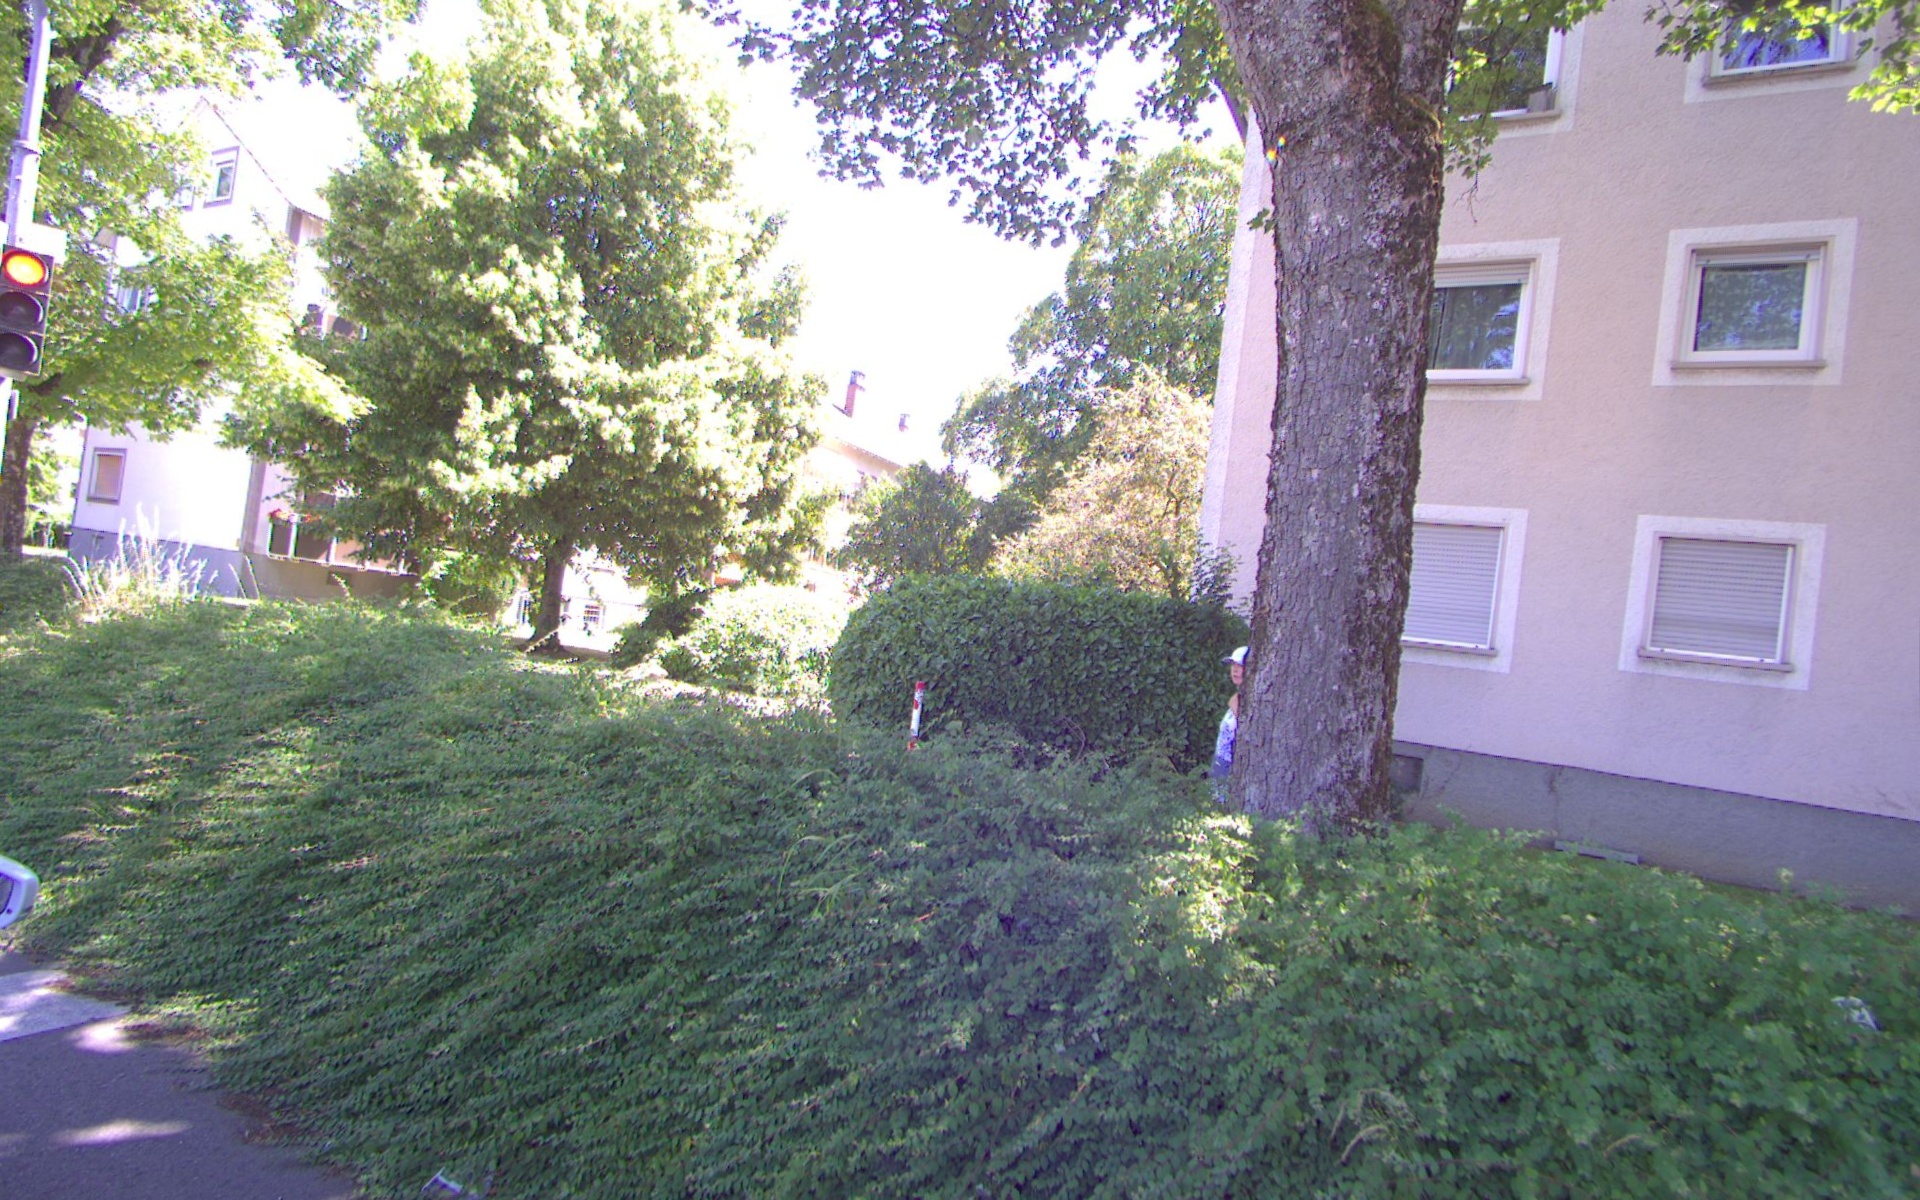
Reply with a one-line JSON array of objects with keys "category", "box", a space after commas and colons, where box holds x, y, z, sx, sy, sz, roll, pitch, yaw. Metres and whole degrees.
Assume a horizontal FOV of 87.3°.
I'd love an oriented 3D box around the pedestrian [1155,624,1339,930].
[{"category": "pedestrian", "box": [1.787, 1.038, 6.213, 0.836, 1.653, 0.720, 7, 0, 23]}]
